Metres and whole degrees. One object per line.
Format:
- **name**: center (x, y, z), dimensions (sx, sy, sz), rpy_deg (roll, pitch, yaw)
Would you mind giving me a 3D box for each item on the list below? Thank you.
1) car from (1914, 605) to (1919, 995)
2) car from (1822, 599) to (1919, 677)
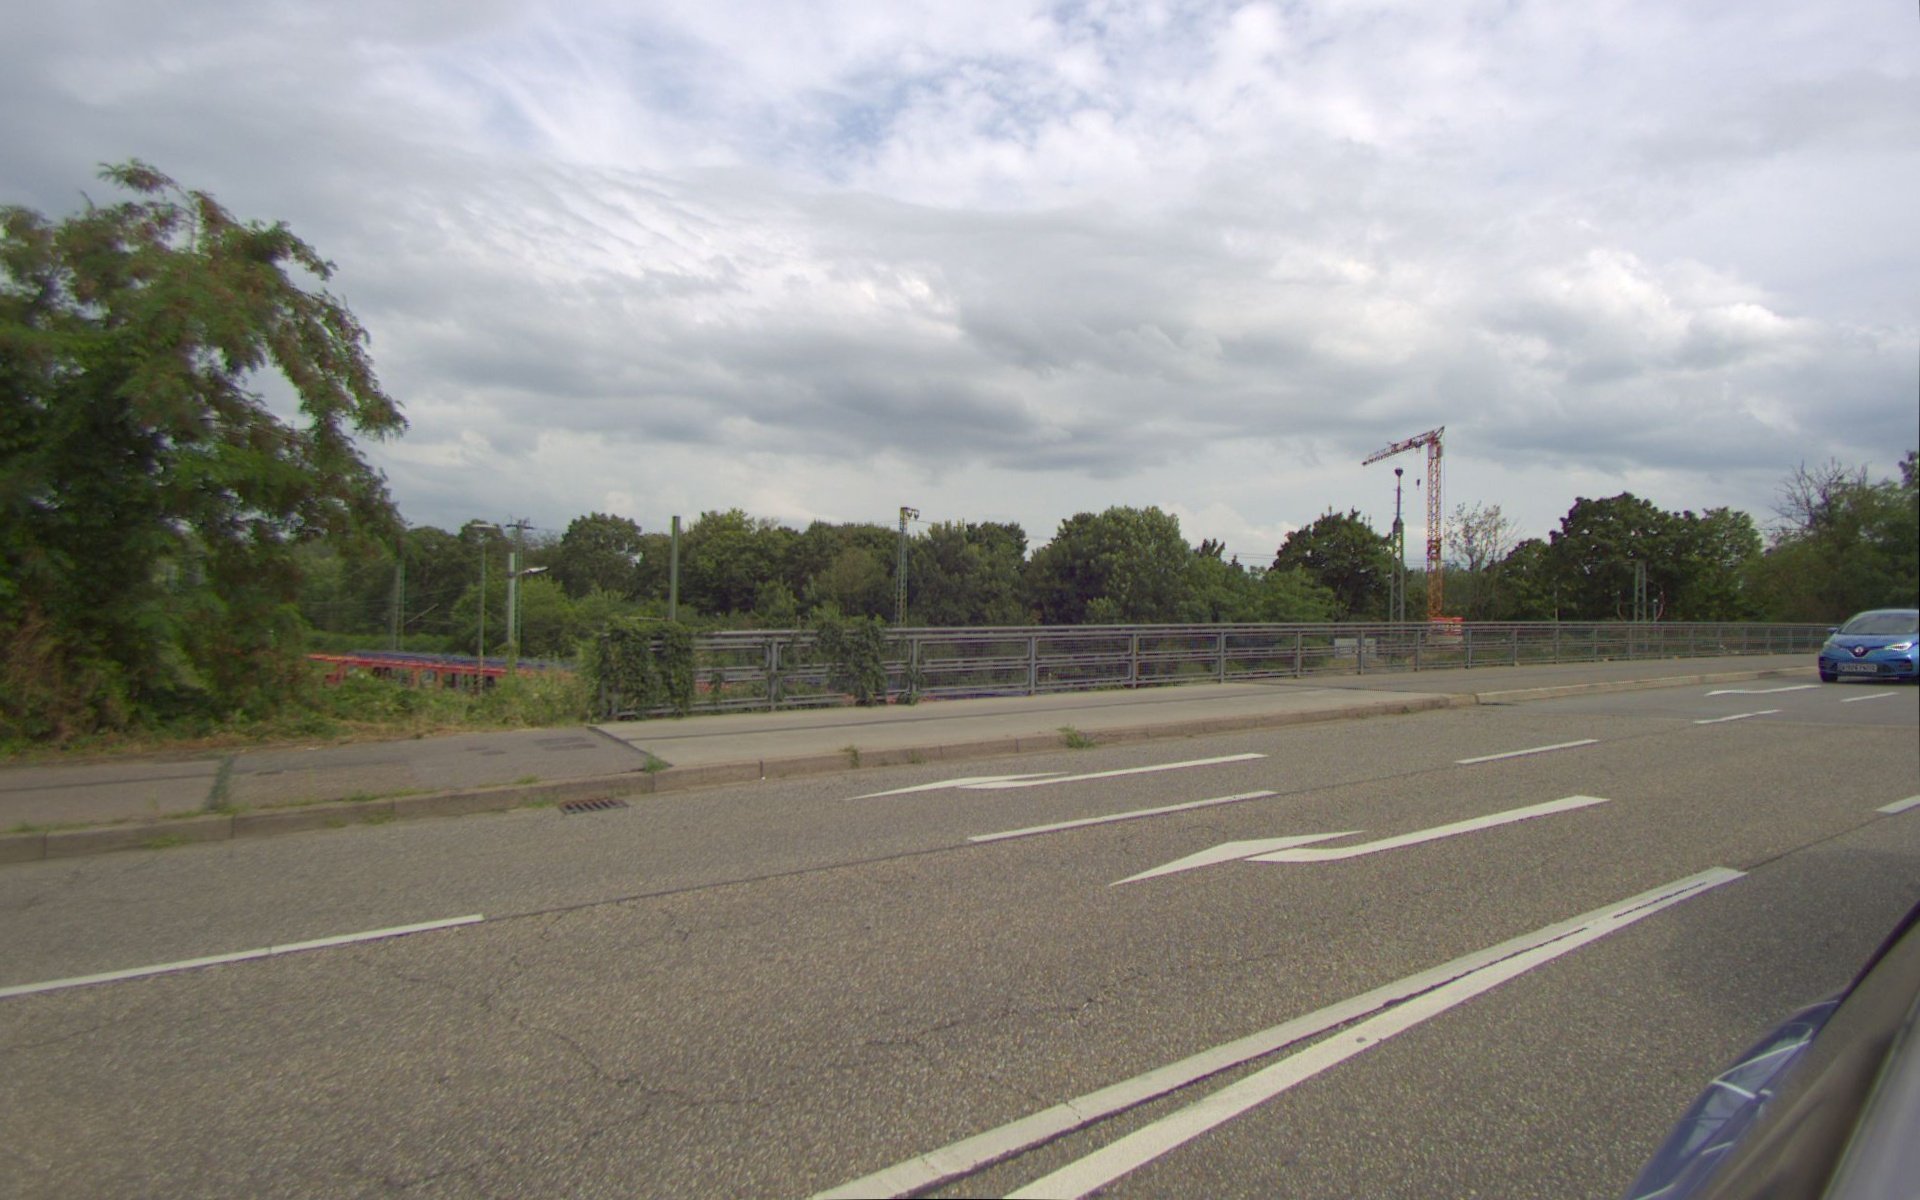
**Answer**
- **car**: center (5.811, 0.704, 4.153), dimensions (4.639, 1.381, 1.854), rpy_deg (0, 0, -35)
- **car**: center (20.325, 0.774, 21.682), dimensions (3.872, 1.541, 1.727), rpy_deg (0, -2, -33)
